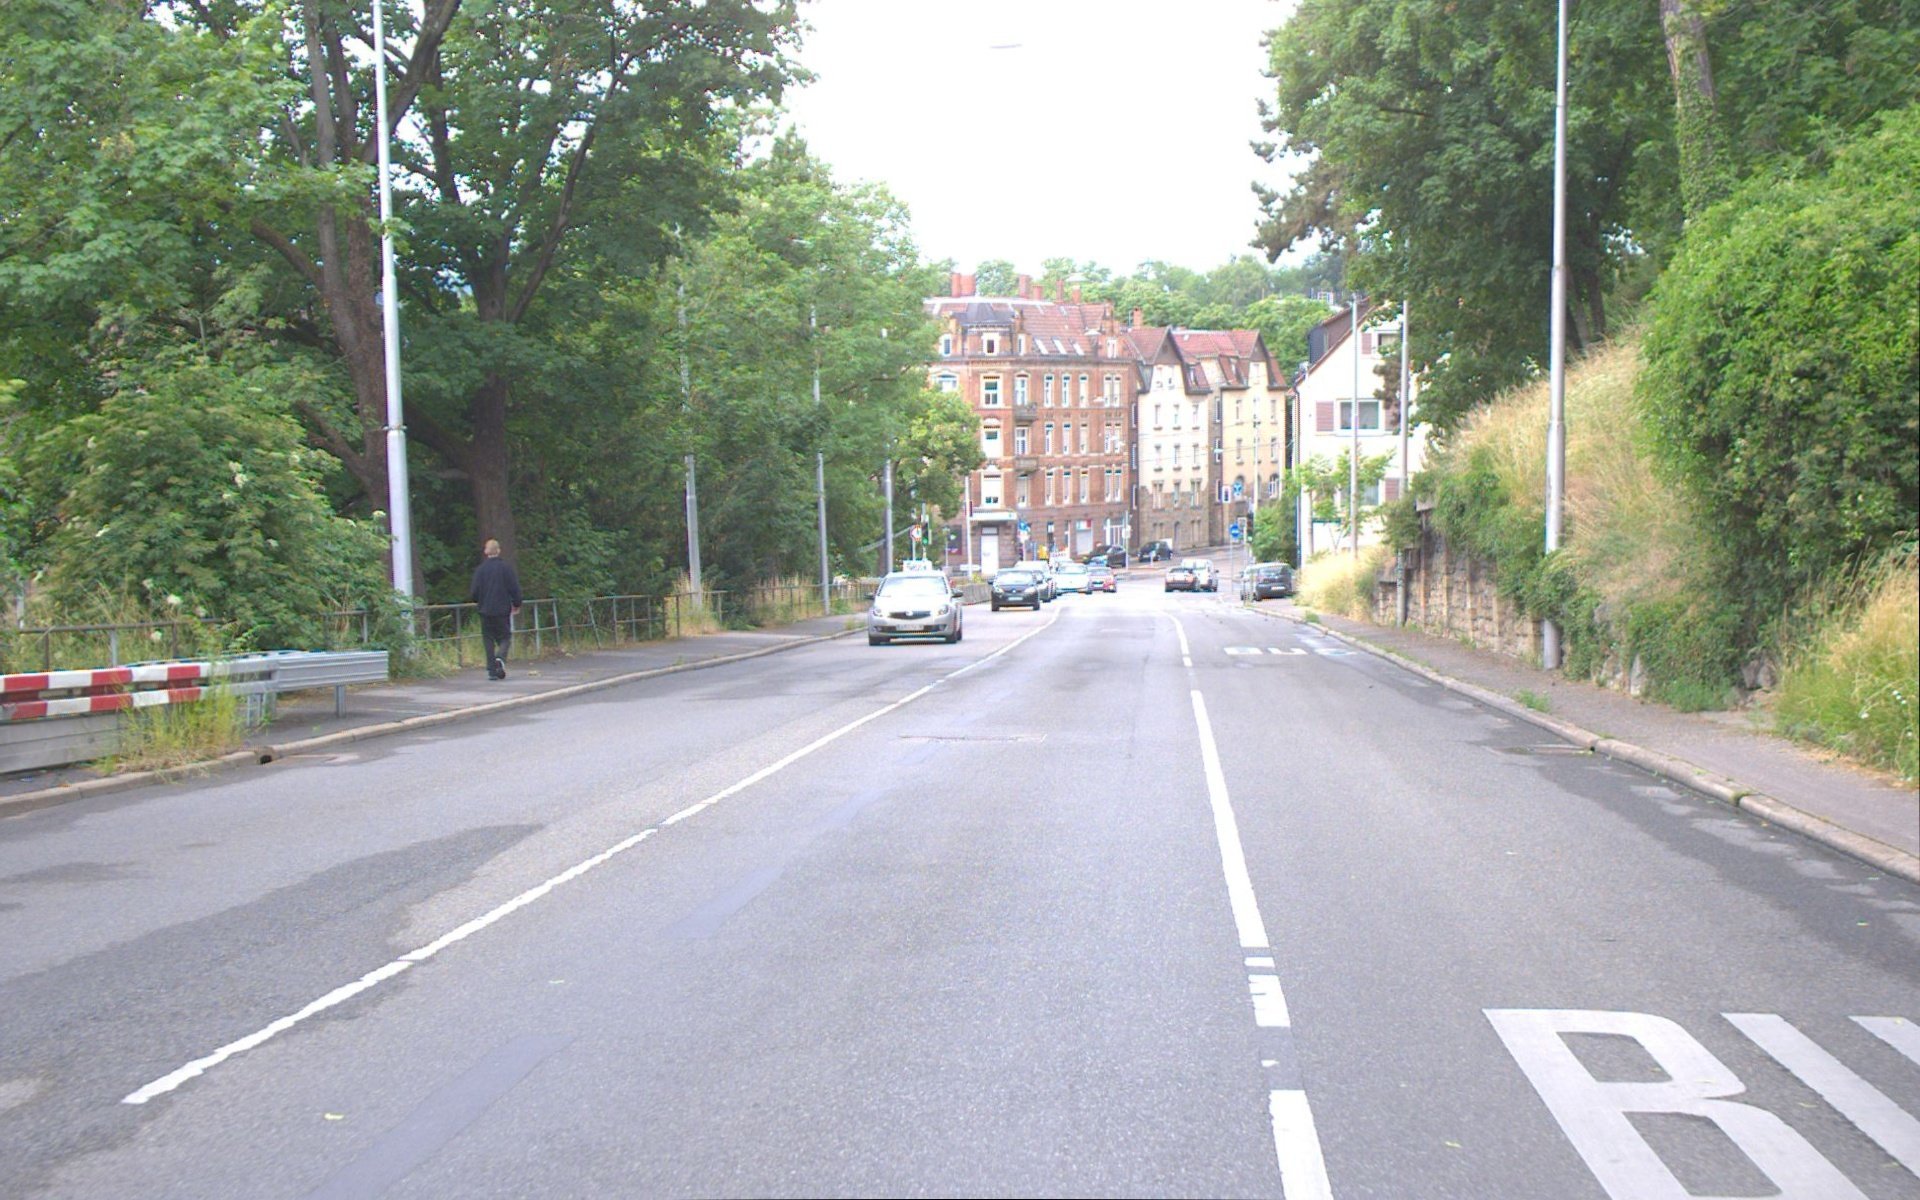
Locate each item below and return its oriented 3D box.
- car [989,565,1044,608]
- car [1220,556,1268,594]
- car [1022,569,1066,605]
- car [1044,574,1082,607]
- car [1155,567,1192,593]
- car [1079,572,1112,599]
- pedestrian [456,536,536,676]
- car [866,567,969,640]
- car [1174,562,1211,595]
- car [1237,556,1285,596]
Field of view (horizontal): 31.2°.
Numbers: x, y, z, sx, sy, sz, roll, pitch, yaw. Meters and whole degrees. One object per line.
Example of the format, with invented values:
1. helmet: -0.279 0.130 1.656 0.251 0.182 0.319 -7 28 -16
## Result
1. car: 1.962 -0.474 119.098 1.669 1.442 3.688 -2 0 4
2. car: 12.079 -1.091 146.006 1.794 1.446 4.717 -4 1 7
3. car: 3.472 -0.548 140.892 1.713 1.422 4.138 -1 0 2
4. car: 5.222 -0.488 174.008 1.784 1.569 4.280 -2 0 3
5. car: 12.240 -1.152 197.129 1.817 1.425 3.999 1 1 8
6. car: 7.645 -0.805 193.785 1.784 1.454 4.428 -2 0 3
7. pedestrian: -6.017 0.067 44.636 0.788 1.768 1.209 2 1 1
8. car: -0.843 0.050 70.140 1.794 1.422 4.143 0 1 4
9. car: 13.834 -1.271 204.111 1.910 1.877 3.999 1 0 8
10. car: 11.997 -0.958 137.066 1.682 1.446 3.999 -4 0 3
